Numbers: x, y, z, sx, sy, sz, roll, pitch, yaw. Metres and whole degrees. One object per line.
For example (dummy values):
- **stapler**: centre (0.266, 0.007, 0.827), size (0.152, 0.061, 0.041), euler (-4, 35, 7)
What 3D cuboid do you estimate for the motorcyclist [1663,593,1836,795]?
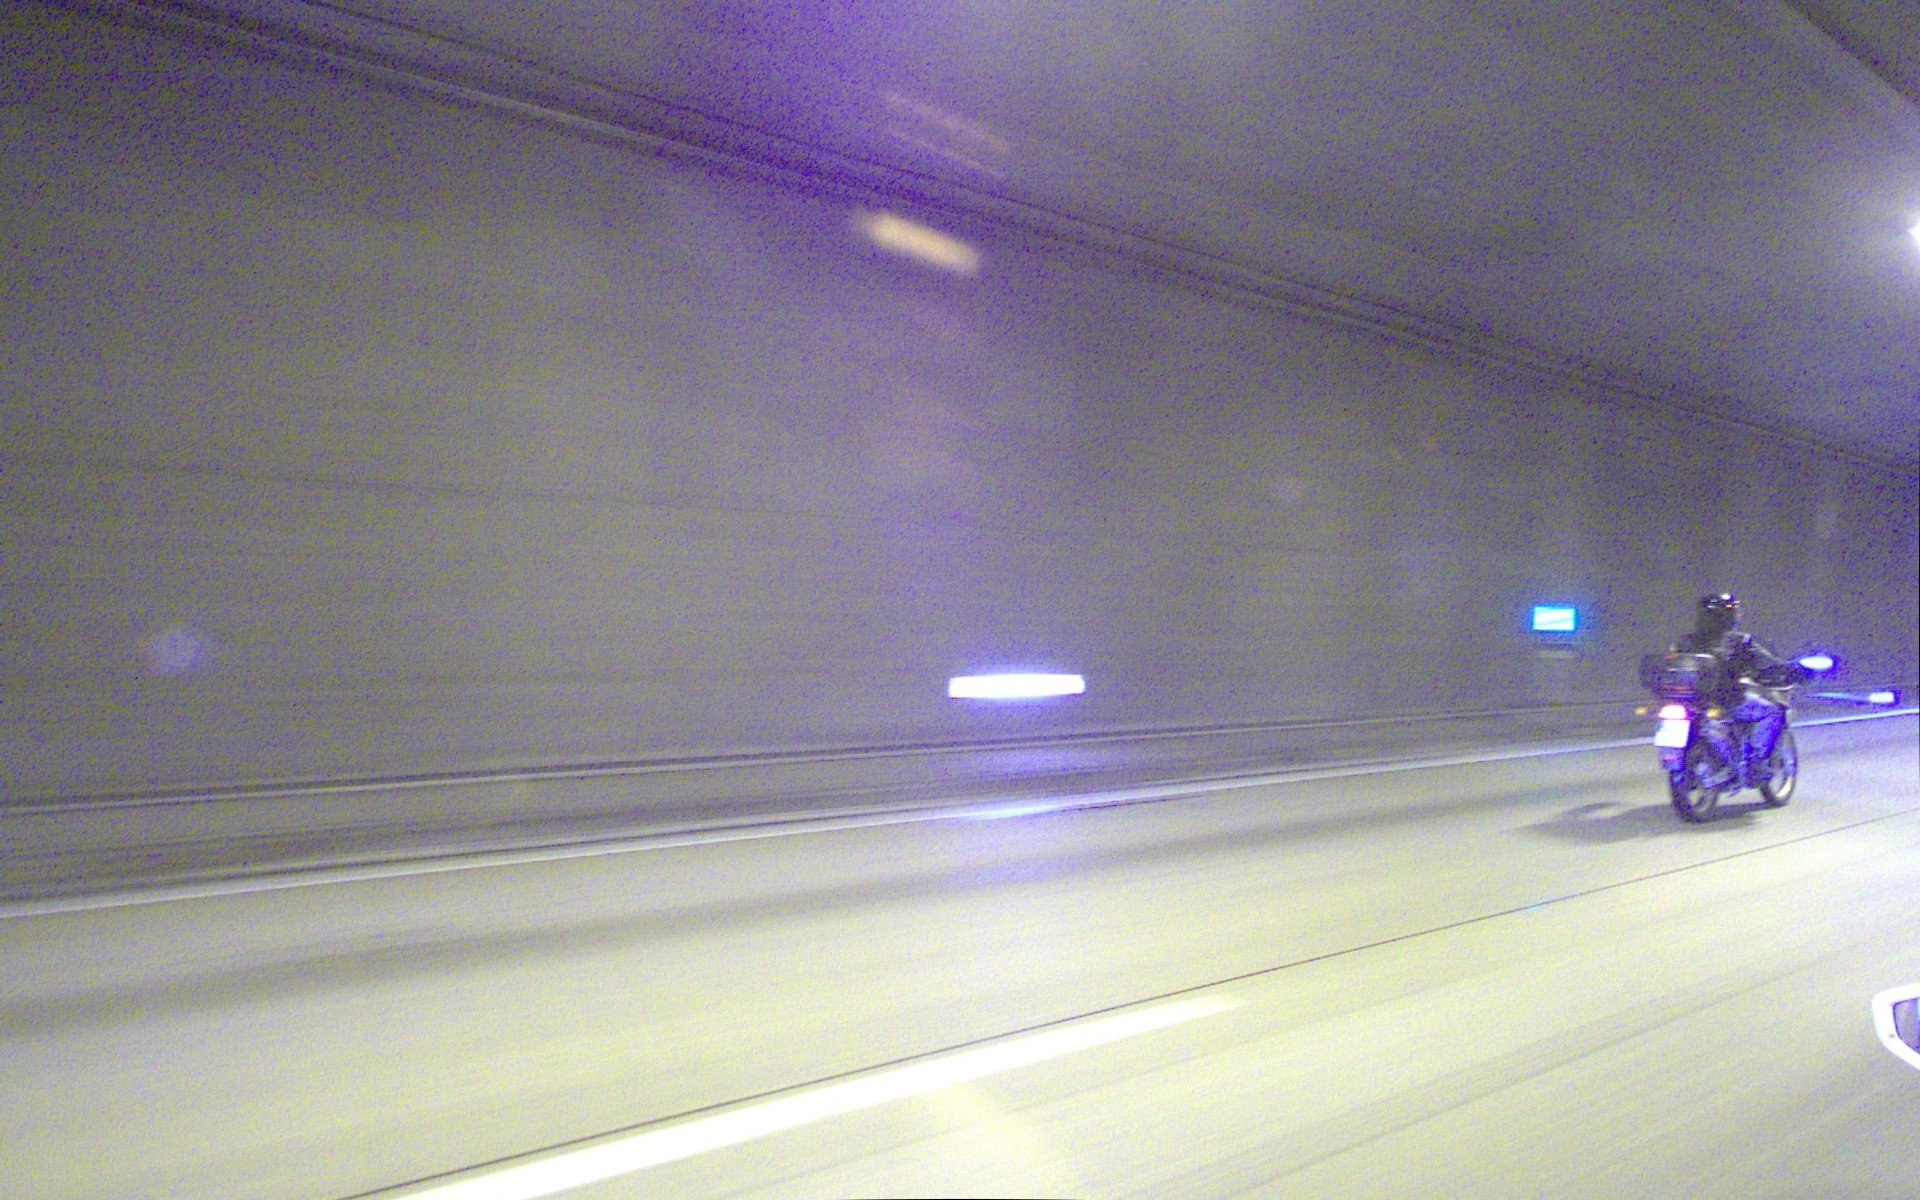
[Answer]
- **motorcyclist**: centre (6.278, 0.704, 8.004), size (0.812, 1.497, 0.835), euler (1, 0, -29)

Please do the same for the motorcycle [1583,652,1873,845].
- **motorcycle**: centre (6.052, 1.065, 7.867), size (2.572, 1.262, 0.842), euler (1, 0, -29)
